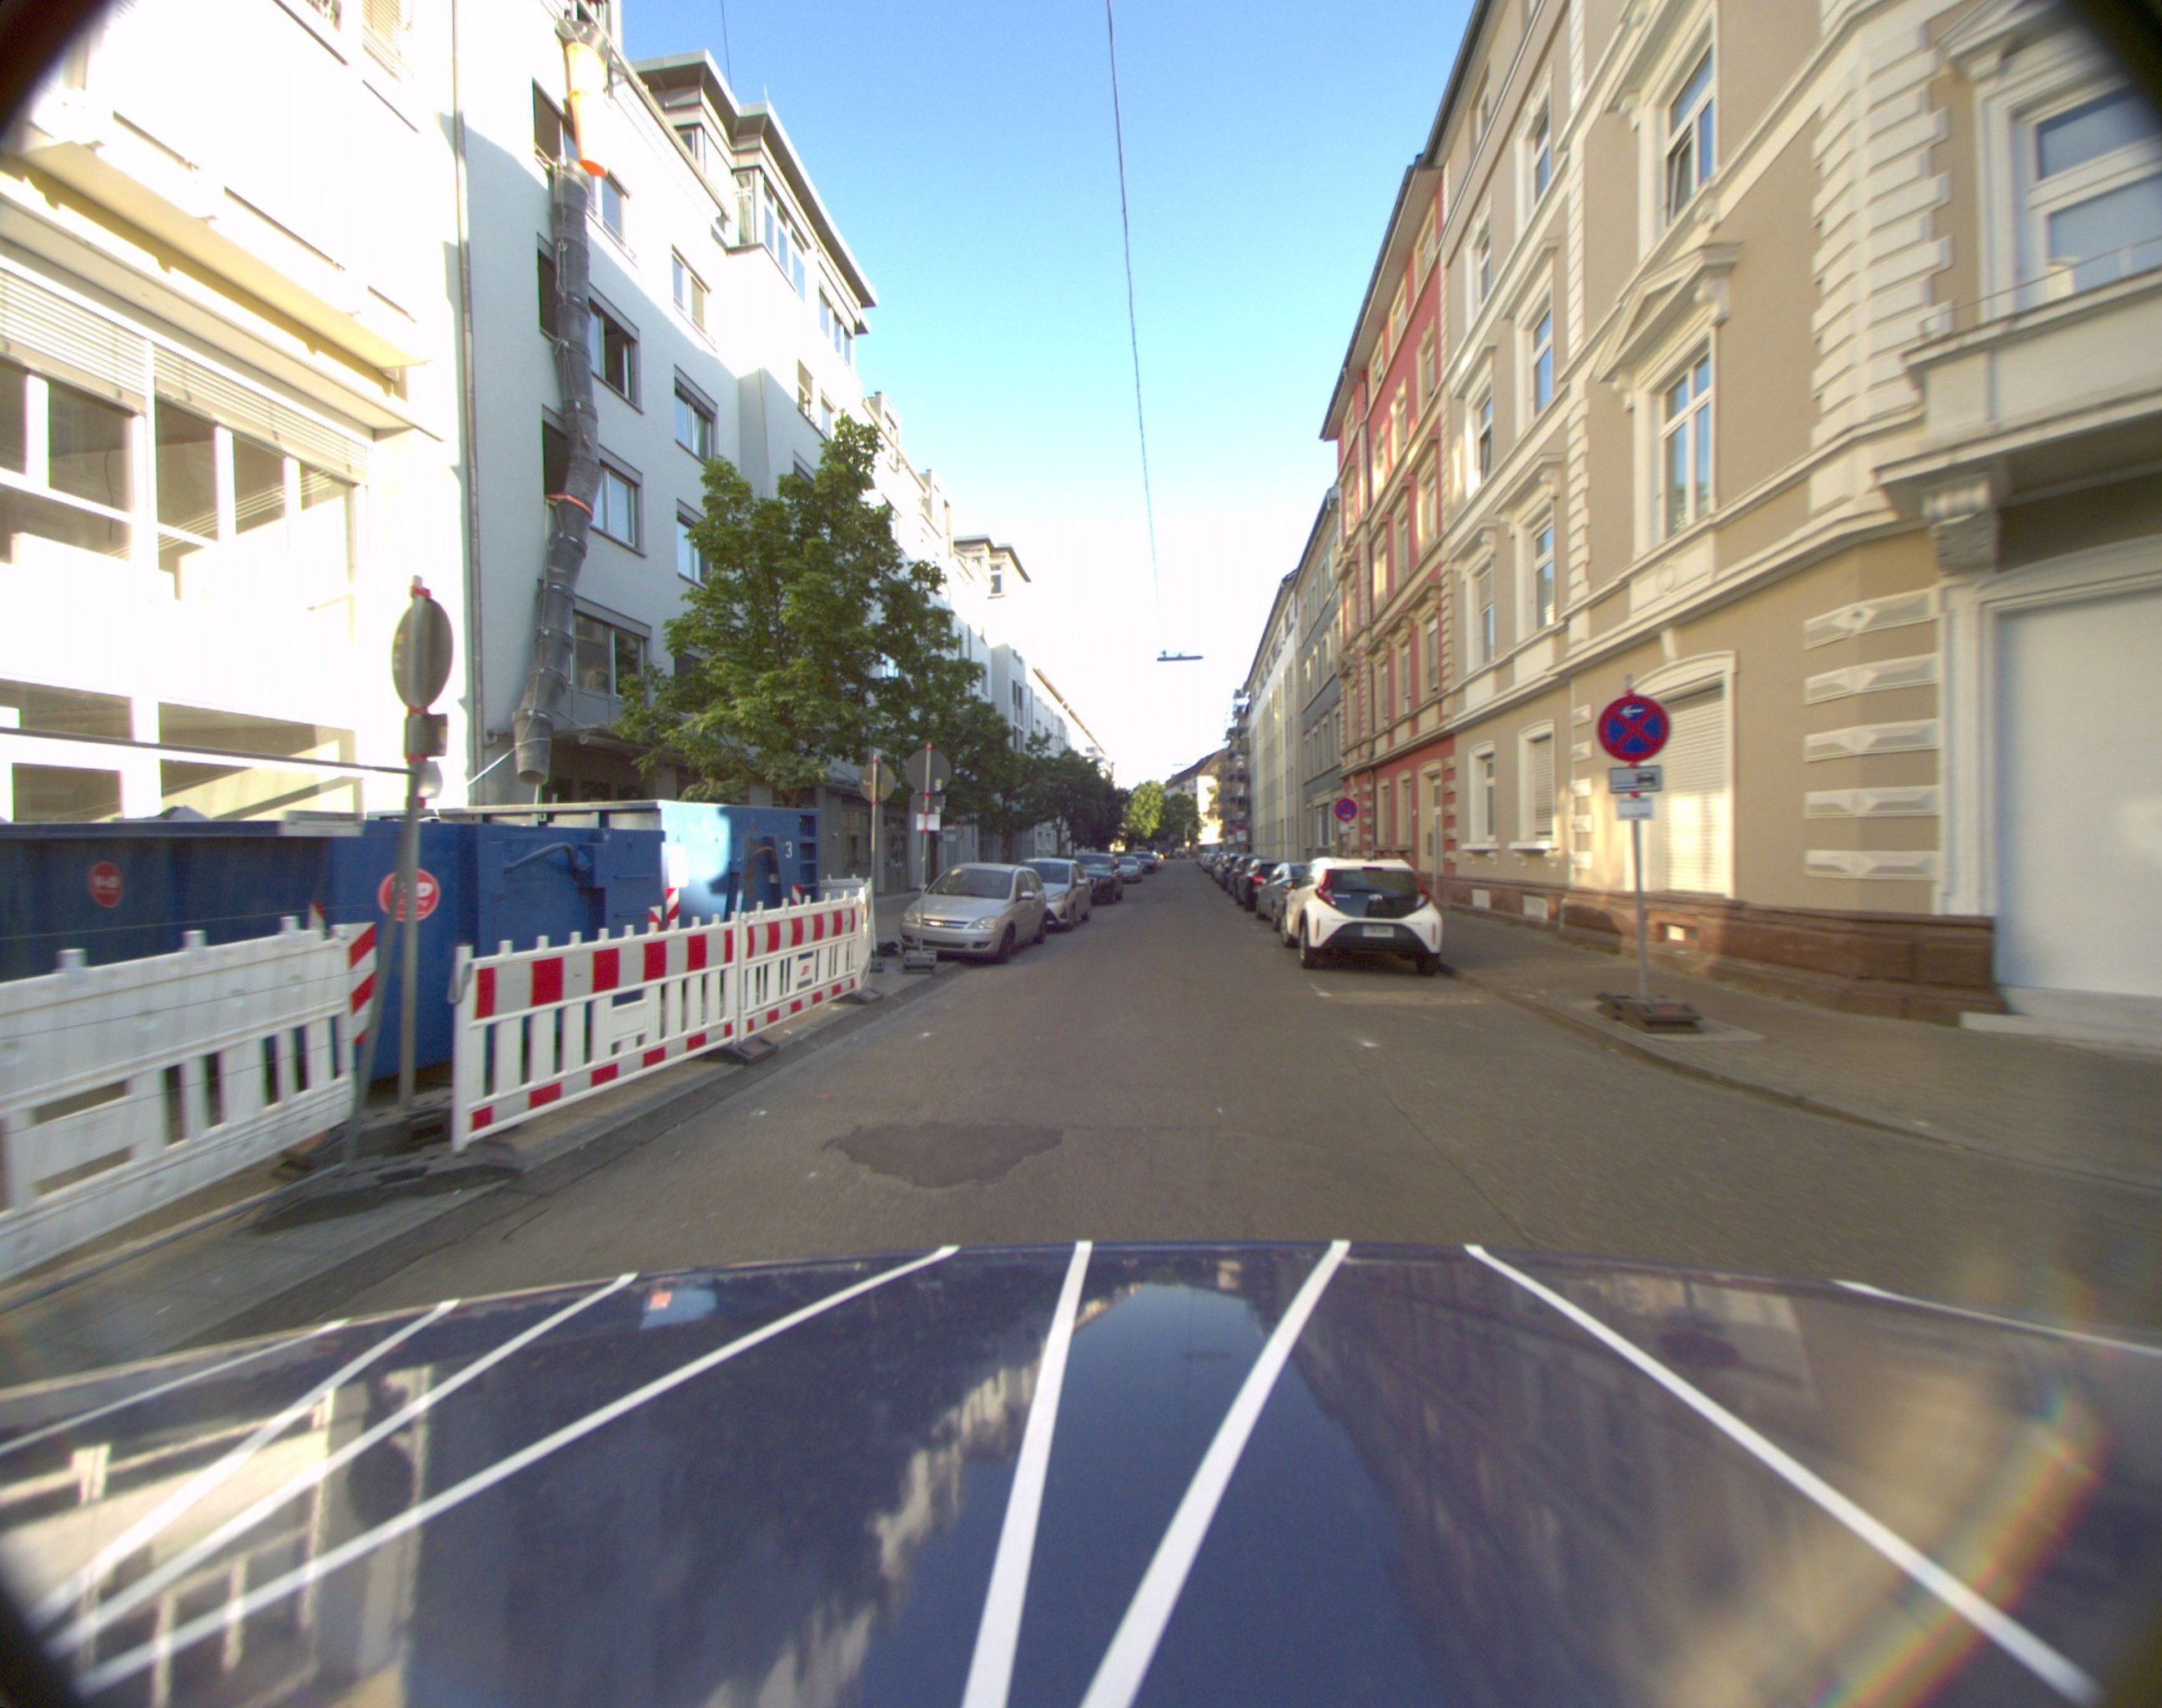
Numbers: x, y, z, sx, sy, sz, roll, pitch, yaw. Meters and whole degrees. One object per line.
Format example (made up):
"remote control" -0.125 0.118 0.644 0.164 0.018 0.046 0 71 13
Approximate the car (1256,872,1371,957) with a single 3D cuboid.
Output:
"car" 4.775 1.166 16.133 1.612 1.420 3.964 2 1 7

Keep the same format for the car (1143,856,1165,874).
"car" 6.830 1.014 70.880 1.901 1.509 4.226 -1 0 7

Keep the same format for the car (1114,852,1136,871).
"car" 4.696 0.767 80.910 1.997 2.002 4.002 -1 0 7

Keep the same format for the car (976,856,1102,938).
"car" -0.800 0.869 17.139 1.911 1.575 4.003 -1 0 11

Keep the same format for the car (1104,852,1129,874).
"car" 3.342 0.832 71.500 1.997 2.002 4.002 -1 0 7

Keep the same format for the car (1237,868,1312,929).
"car" 5.390 1.177 21.530 1.588 1.407 3.914 3 1 8

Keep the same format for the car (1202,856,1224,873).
"car" 13.517 1.071 77.971 1.997 1.576 4.496 -2 0 7

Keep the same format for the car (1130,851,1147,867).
"car" 7.429 0.589 97.921 1.997 2.002 4.002 -1 0 7

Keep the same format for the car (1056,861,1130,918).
"car" 0.510 1.139 26.007 1.862 1.679 4.393 -1 0 9

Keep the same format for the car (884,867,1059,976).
"car" -1.604 0.986 12.631 1.637 1.438 4.070 -1 0 10

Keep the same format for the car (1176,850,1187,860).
"car" 18.596 0.248 140.619 1.997 1.783 4.002 -1 0 8

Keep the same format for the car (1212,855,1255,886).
"car" 8.664 0.899 43.493 1.997 1.640 4.496 -2 0 7

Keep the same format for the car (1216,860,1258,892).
"car" 7.824 1.067 38.444 1.661 1.420 4.355 -2 0 6

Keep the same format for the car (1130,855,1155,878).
"car" 4.789 0.928 58.671 1.854 1.649 4.002 -1 0 6

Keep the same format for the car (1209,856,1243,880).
"car" 10.105 0.946 53.316 1.997 1.576 4.496 -2 0 7

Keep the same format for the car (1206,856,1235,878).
"car" 10.586 0.968 58.001 1.997 1.566 4.152 -1 0 8

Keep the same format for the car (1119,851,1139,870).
"car" 5.398 0.686 85.349 1.997 2.002 4.002 -1 0 7

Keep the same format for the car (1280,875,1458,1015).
"car" 4.012 1.154 11.226 1.687 1.487 3.847 3 1 10

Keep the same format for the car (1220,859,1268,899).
"car" 6.909 1.007 32.574 1.596 1.513 4.432 -2 0 7

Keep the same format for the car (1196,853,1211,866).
"car" 17.773 0.743 110.424 1.997 1.783 4.002 -1 0 8

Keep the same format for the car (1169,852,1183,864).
"car" 14.673 0.641 116.920 1.997 1.783 4.002 -1 0 8

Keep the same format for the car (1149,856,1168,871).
"car" 8.037 0.994 78.459 1.854 1.480 4.002 -1 0 7

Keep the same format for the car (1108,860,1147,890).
"car" 2.619 1.131 42.132 1.854 1.480 4.002 -1 0 7

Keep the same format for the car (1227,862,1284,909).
"car" 6.264 1.092 27.602 1.536 1.490 4.198 1 0 7
